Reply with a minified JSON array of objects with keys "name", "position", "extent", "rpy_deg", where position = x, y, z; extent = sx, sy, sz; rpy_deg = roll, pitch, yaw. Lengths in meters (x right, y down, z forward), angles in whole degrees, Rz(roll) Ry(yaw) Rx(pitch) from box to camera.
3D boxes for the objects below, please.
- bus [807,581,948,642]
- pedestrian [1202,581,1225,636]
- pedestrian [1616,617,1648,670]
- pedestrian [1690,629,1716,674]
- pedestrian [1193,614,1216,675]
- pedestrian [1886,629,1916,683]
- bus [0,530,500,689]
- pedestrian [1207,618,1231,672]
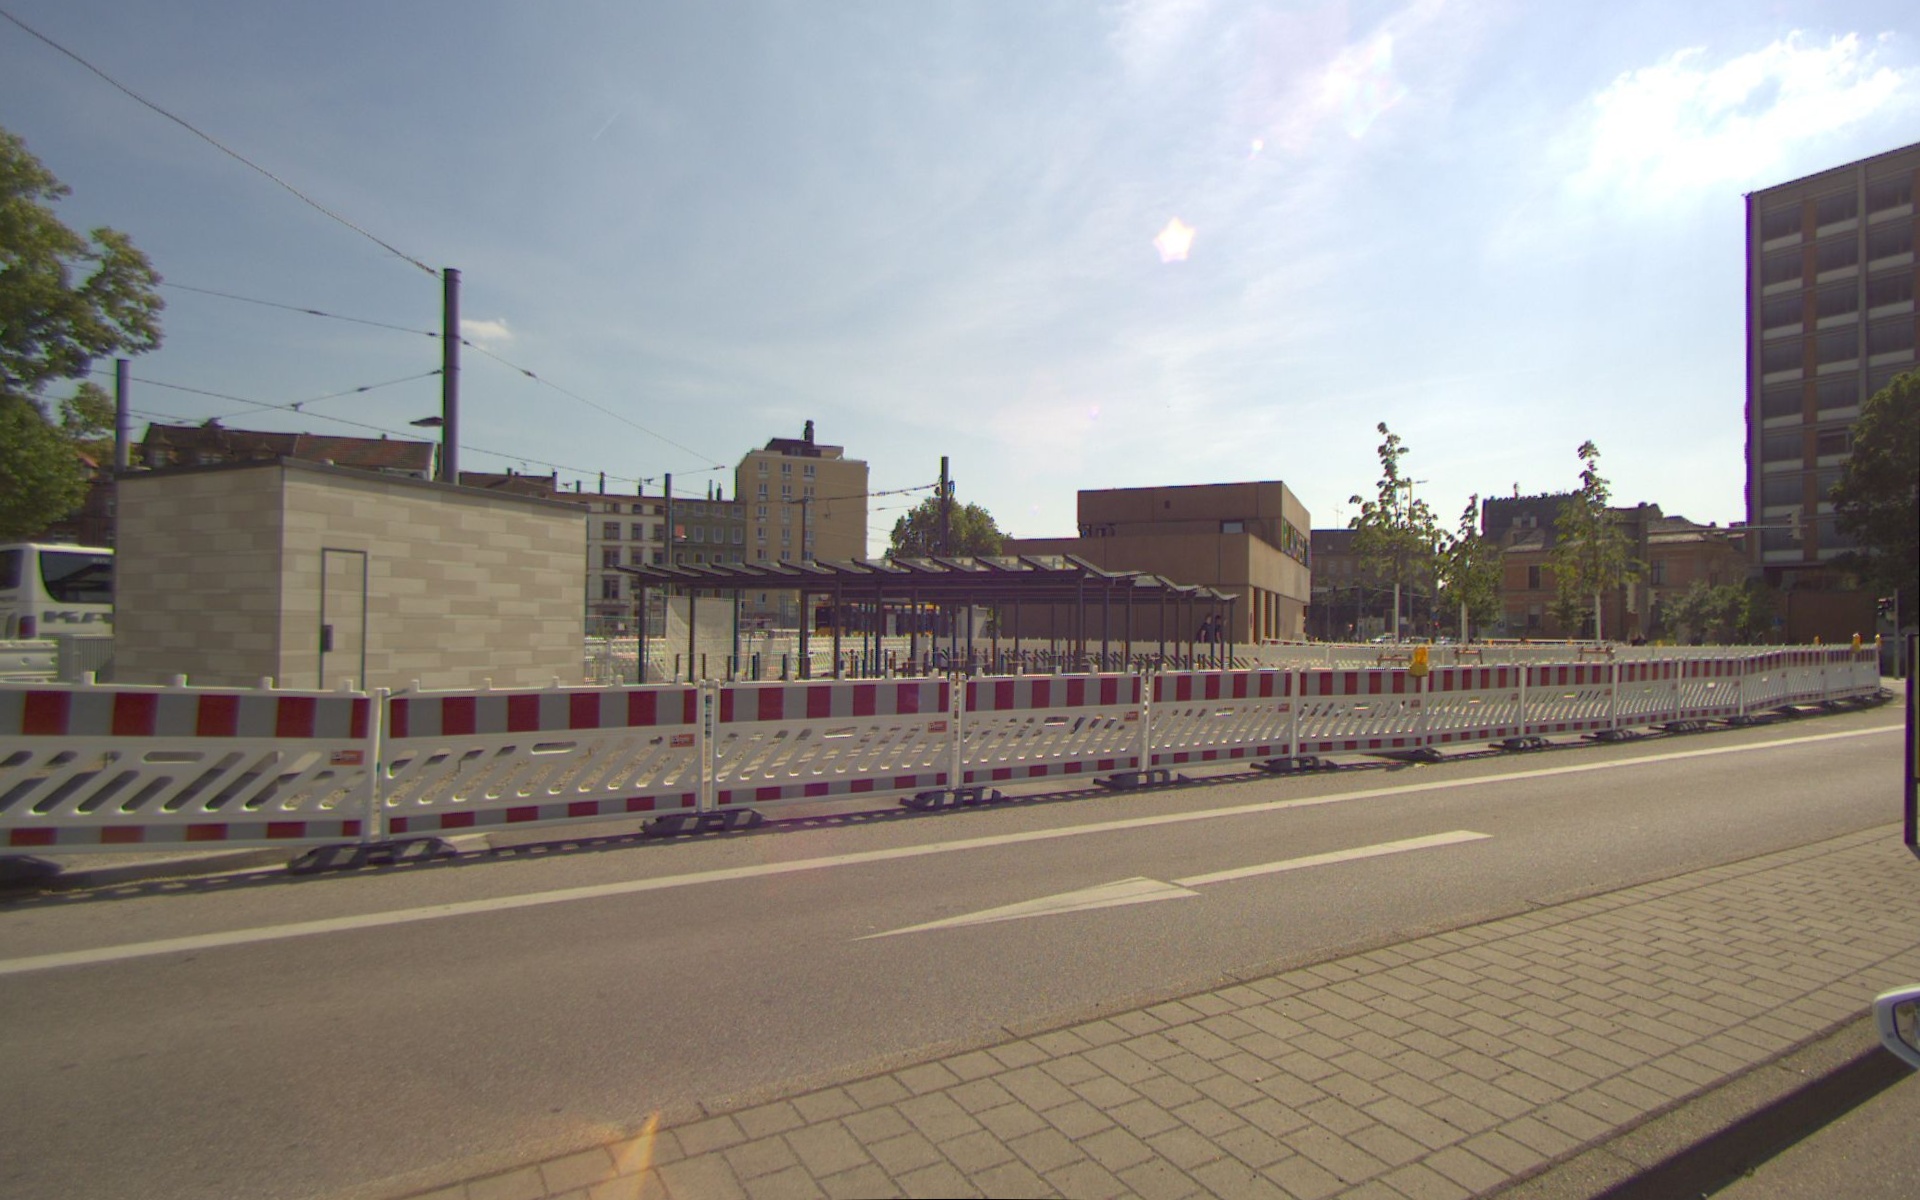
[{"name":"bus","position":[-4.669,0.839,61.500],"extent":[2.808,3.324,12.650],"rpy_deg":[0,-2,25]},{"name":"pedestrian","position":[8.390,0.273,33.280],"extent":[0.559,1.801,0.544],"rpy_deg":[1,-2,-10]},{"name":"pedestrian","position":[22.949,1.490,34.284],"extent":[0.728,1.775,1.105],"rpy_deg":[-1,-4,43]},{"name":"pedestrian","position":[25.134,1.723,33.984],"extent":[0.624,1.511,0.613],"rpy_deg":[-1,-2,44]},{"name":"pedestrian","position":[7.771,1.410,31.975],"extent":[0.595,1.940,0.441],"rpy_deg":[1,-2,-10]},{"name":"pedestrian","position":[36.423,2.142,38.888],"extent":[0.604,2.040,0.687],"rpy_deg":[2,0,23]},{"name":"bus","position":[-19.416,0.404,28.669],"extent":[2.808,3.535,12.650],"rpy_deg":[0,-2,25]},{"name":"pedestrian","position":[8.383,1.463,32.519],"extent":[0.559,1.731,0.539],"rpy_deg":[1,-2,-10]}]
